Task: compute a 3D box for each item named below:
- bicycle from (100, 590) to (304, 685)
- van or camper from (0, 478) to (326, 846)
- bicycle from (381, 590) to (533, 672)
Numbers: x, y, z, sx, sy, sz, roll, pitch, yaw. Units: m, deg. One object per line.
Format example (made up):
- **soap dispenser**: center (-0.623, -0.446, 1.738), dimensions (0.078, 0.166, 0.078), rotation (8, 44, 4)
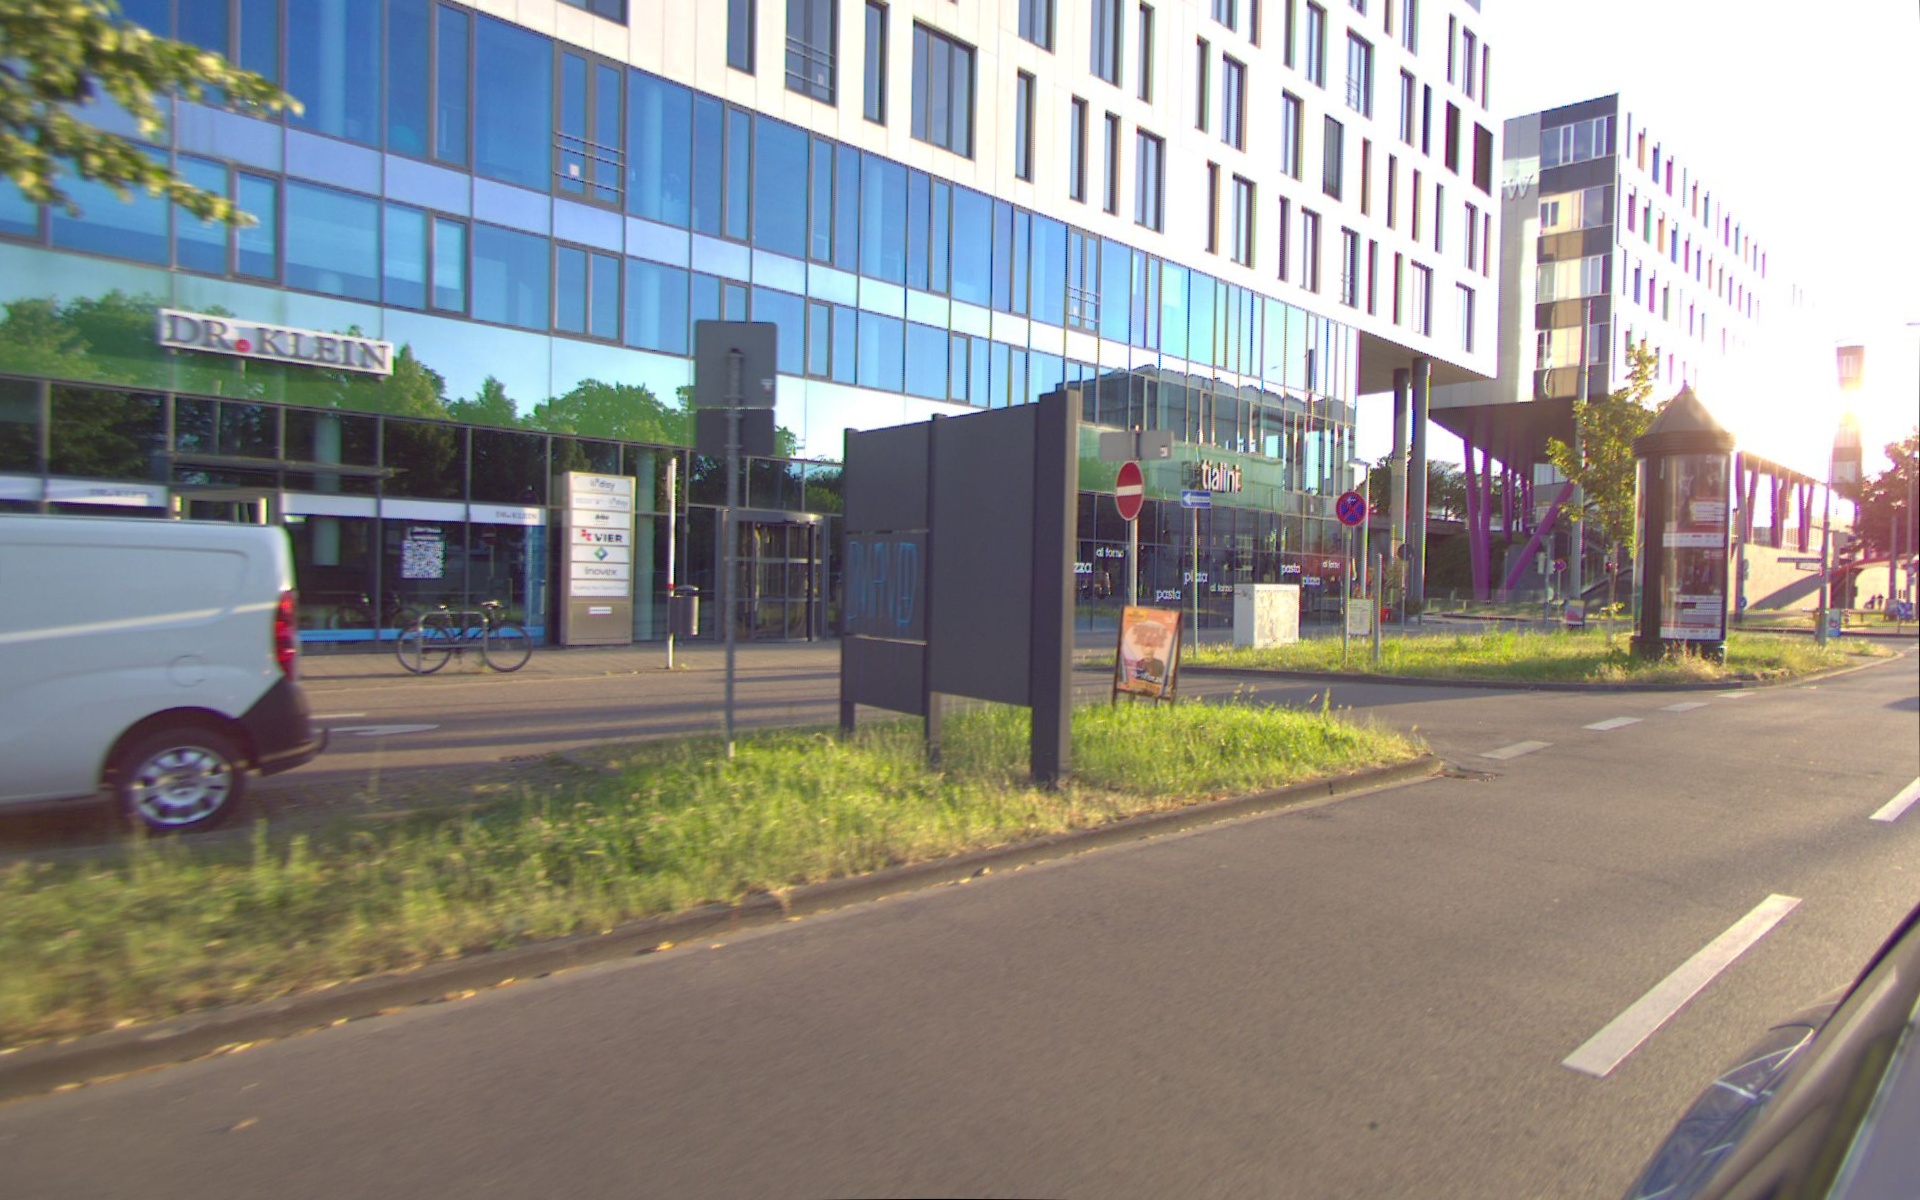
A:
- **bicycle**: center (-9.043, 0.440, 12.163), dimensions (1.878, 1.053, 0.532), rotation (1, 2, -29)
- **van or camper**: center (-6.380, 0.325, 5.513), dimensions (4.744, 1.944, 1.962), rotation (0, 0, -40)
- **bicycle**: center (-6.993, 0.427, 14.112), dimensions (1.838, 1.053, 0.532), rotation (1, 2, -29)
